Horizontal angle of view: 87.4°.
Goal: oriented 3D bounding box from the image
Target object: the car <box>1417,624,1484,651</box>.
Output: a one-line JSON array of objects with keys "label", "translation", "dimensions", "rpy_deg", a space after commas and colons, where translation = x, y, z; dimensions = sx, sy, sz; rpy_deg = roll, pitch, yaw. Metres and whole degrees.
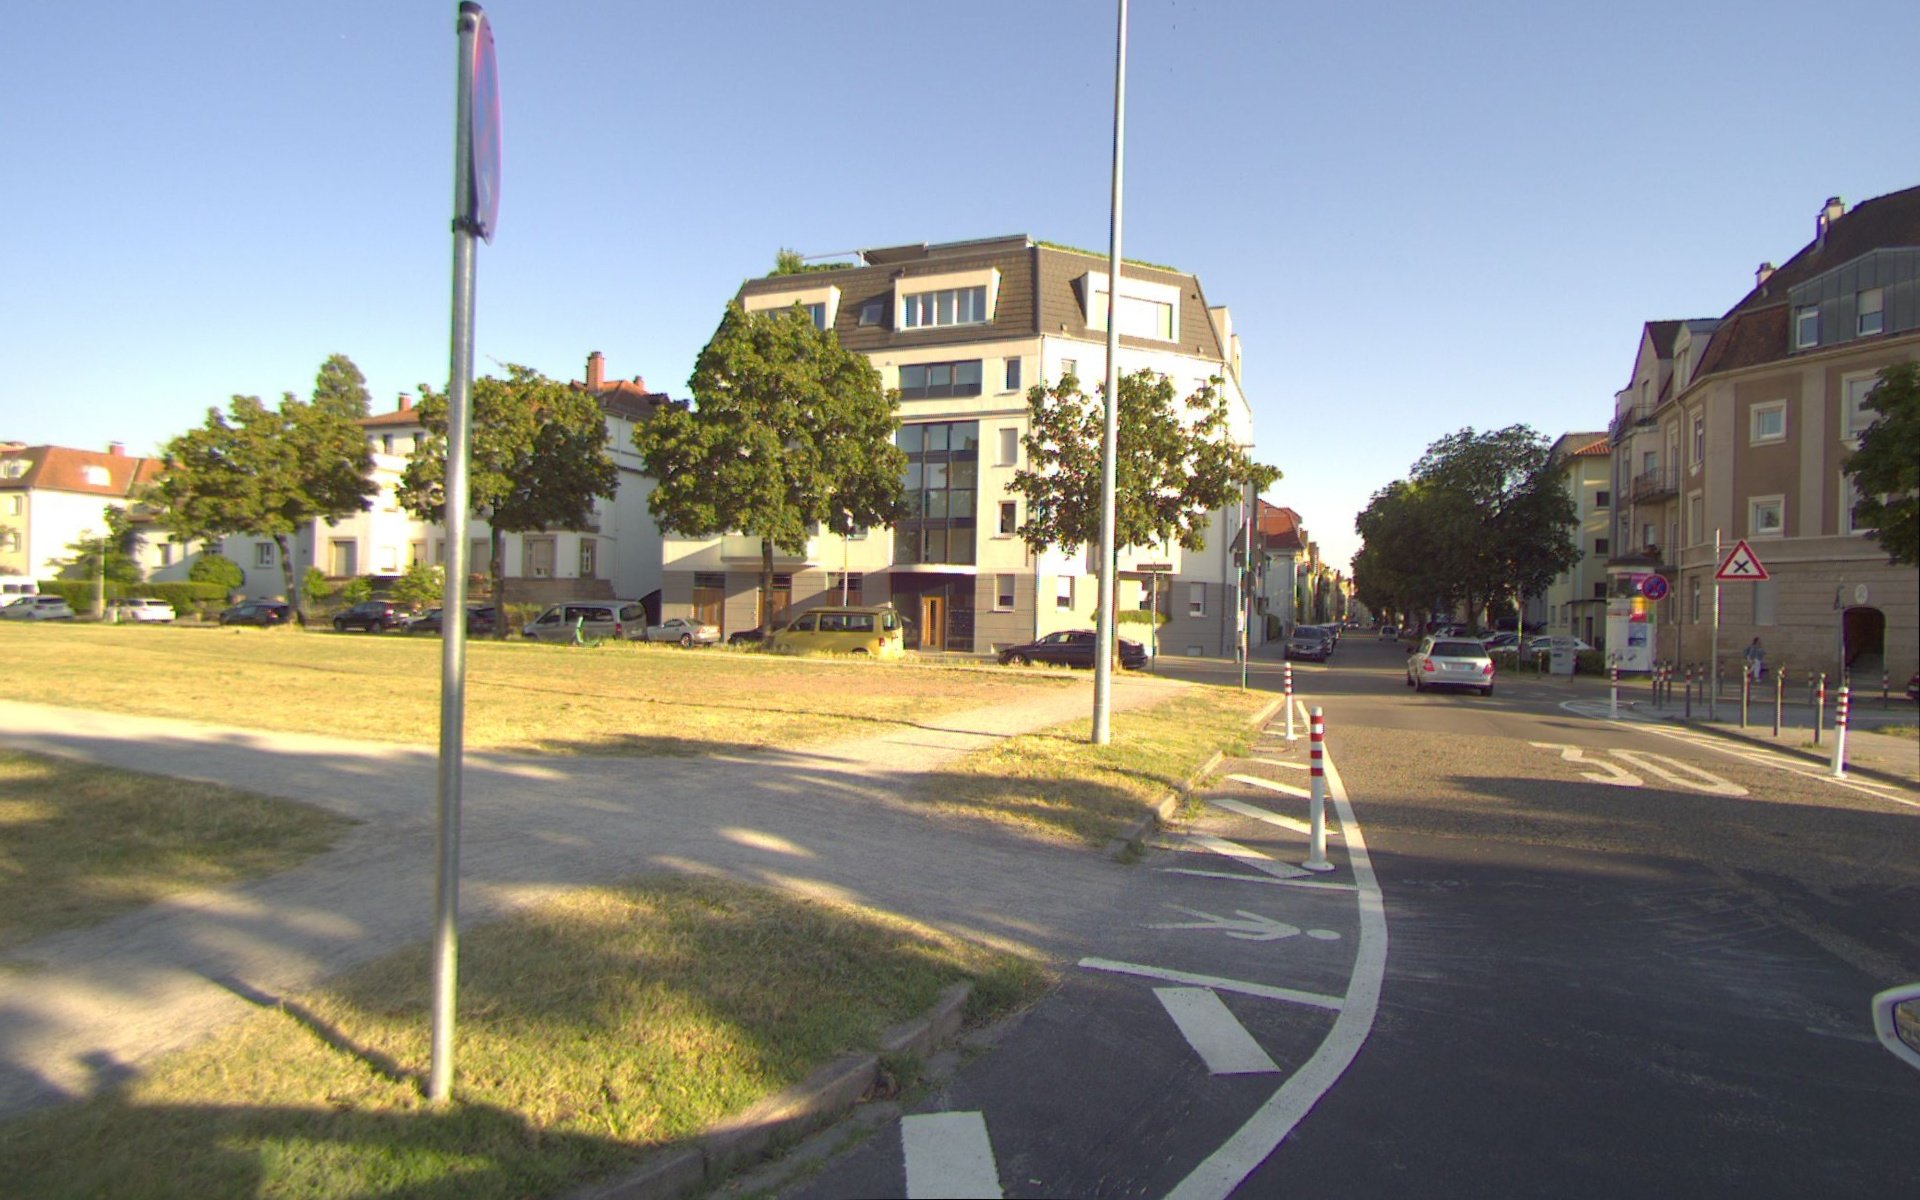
[{"label": "car", "translation": [38.718, 2.935, 79.365], "dimensions": [4.550, 1.861, 1.953], "rpy_deg": [2, 0, 22]}]

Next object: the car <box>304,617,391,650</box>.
[{"label": "car", "translation": [-32.085, 1.732, 52.623], "dimensions": [4.082, 1.601, 1.826], "rpy_deg": [1, -1, 22]}]

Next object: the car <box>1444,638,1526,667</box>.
[{"label": "car", "translation": [31.228, 3.091, 59.872], "dimensions": [4.122, 1.579, 1.874], "rpy_deg": [0, -1, 21]}]

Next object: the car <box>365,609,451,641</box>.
[{"label": "car", "translation": [-27.899, 1.259, 50.767], "dimensions": [3.930, 1.465, 1.643], "rpy_deg": [1, -2, 21]}]

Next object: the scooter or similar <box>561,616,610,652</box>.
[{"label": "scooter or similar", "translation": [-12.498, 1.120, 33.519], "dimensions": [1.617, 1.131, 0.453], "rpy_deg": [1, -1, 23]}]

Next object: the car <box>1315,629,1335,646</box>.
[{"label": "car", "translation": [34.993, 3.574, 96.166], "dimensions": [1.632, 1.519, 3.753], "rpy_deg": [2, -1, 22]}]

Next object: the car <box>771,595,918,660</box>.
[{"label": "car", "translation": [-4.006, 0.931, 34.879], "dimensions": [4.602, 2.040, 2.033], "rpy_deg": [1, -1, 21]}]

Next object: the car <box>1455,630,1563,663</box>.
[{"label": "car", "translation": [27.190, 2.286, 49.911], "dimensions": [4.401, 1.546, 1.954], "rpy_deg": [0, 0, 16]}]

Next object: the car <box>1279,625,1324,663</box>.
[{"label": "car", "translation": [15.716, 1.967, 46.178], "dimensions": [1.853, 1.612, 4.091], "rpy_deg": [1, -1, 19]}]

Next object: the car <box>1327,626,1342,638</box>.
[{"label": "car", "translation": [50.857, 4.342, 136.327], "dimensions": [1.770, 1.502, 3.856], "rpy_deg": [2, 0, 21]}]

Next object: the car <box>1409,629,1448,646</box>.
[{"label": "car", "translation": [49.266, 3.951, 105.737], "dimensions": [3.535, 1.682, 1.650], "rpy_deg": [1, 0, 20]}]

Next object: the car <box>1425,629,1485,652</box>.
[{"label": "car", "translation": [35.298, 2.877, 71.702], "dimensions": [3.669, 1.579, 1.725], "rpy_deg": [0, -1, 21]}]

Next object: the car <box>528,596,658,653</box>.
[{"label": "car", "translation": [-14.390, 0.957, 39.399], "dimensions": [4.486, 2.040, 2.079], "rpy_deg": [1, -1, 21]}]

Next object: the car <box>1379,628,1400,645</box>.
[{"label": "car", "translation": [41.824, 3.563, 97.790], "dimensions": [1.788, 1.492, 4.214], "rpy_deg": [1, -2, 24]}]

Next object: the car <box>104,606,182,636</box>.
[{"label": "car", "translation": [-47.788, 1.221, 58.758], "dimensions": [3.890, 1.601, 1.826], "rpy_deg": [1, -1, 22]}]

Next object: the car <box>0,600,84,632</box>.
[{"label": "car", "translation": [-48.363, 0.841, 52.876], "dimensions": [3.762, 1.601, 1.826], "rpy_deg": [1, -1, 22]}]

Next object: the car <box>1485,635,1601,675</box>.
[{"label": "car", "translation": [24.778, 2.315, 42.849], "dimensions": [3.982, 1.525, 1.862], "rpy_deg": [0, -1, 21]}]

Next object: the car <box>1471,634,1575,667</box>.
[{"label": "car", "translation": [26.476, 2.336, 47.391], "dimensions": [4.075, 1.467, 1.673], "rpy_deg": [0, -1, 21]}]

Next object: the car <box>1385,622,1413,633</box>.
[{"label": "car", "translation": [64.961, 4.109, 148.670], "dimensions": [3.782, 1.502, 1.804], "rpy_deg": [1, -1, 23]}]

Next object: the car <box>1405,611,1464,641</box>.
[{"label": "car", "translation": [50.955, 2.765, 108.078], "dimensions": [5.450, 3.008, 2.472], "rpy_deg": [1, 0, 20]}]

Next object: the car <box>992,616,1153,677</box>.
[{"label": "car", "translation": [3.572, 1.432, 31.862], "dimensions": [4.745, 1.691, 1.788], "rpy_deg": [1, -1, 23]}]

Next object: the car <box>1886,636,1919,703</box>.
[{"label": "car", "translation": [28.536, 1.979, 27.685], "dimensions": [4.009, 1.764, 1.810], "rpy_deg": [1, 1, 24]}]

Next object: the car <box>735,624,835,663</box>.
[{"label": "car", "translation": [-7.479, 1.843, 43.006], "dimensions": [3.923, 1.482, 1.677], "rpy_deg": [1, -1, 23]}]

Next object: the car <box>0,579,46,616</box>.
[{"label": "car", "translation": [-60.553, -0.185, 63.942], "dimensions": [4.053, 2.243, 1.999], "rpy_deg": [1, -1, 25]}]

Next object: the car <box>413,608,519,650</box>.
[{"label": "car", "translation": [-20.348, 1.180, 41.393], "dimensions": [3.762, 1.601, 1.826], "rpy_deg": [1, -1, 22]}]

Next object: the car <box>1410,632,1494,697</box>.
[{"label": "car", "translation": [12.812, 1.637, 26.361], "dimensions": [1.788, 1.492, 4.214], "rpy_deg": [1, -2, 24]}]

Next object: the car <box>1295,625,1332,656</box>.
[{"label": "car", "translation": [19.462, 2.210, 55.371], "dimensions": [1.853, 1.612, 4.091], "rpy_deg": [1, -1, 19]}]

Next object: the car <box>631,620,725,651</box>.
[{"label": "car", "translation": [-12.486, 1.575, 44.493], "dimensions": [3.656, 1.256, 1.627], "rpy_deg": [1, -2, 18]}]

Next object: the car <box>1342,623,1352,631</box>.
[{"label": "car", "translation": [77.141, 5.354, 200.357], "dimensions": [1.505, 1.494, 4.268], "rpy_deg": [1, -2, 25]}]

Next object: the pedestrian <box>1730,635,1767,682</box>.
[{"label": "pedestrian", "translation": [28.166, 2.074, 35.871], "dimensions": [0.735, 1.566, 0.813], "rpy_deg": [0, 3, -36]}]

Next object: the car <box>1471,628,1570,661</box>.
[{"label": "car", "translation": [30.363, 2.381, 54.582], "dimensions": [4.452, 1.662, 1.874], "rpy_deg": [0, -1, 21]}]

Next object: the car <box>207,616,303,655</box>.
[{"label": "car", "translation": [-32.240, 1.612, 45.967], "dimensions": [3.762, 1.601, 1.826], "rpy_deg": [1, -1, 22]}]
